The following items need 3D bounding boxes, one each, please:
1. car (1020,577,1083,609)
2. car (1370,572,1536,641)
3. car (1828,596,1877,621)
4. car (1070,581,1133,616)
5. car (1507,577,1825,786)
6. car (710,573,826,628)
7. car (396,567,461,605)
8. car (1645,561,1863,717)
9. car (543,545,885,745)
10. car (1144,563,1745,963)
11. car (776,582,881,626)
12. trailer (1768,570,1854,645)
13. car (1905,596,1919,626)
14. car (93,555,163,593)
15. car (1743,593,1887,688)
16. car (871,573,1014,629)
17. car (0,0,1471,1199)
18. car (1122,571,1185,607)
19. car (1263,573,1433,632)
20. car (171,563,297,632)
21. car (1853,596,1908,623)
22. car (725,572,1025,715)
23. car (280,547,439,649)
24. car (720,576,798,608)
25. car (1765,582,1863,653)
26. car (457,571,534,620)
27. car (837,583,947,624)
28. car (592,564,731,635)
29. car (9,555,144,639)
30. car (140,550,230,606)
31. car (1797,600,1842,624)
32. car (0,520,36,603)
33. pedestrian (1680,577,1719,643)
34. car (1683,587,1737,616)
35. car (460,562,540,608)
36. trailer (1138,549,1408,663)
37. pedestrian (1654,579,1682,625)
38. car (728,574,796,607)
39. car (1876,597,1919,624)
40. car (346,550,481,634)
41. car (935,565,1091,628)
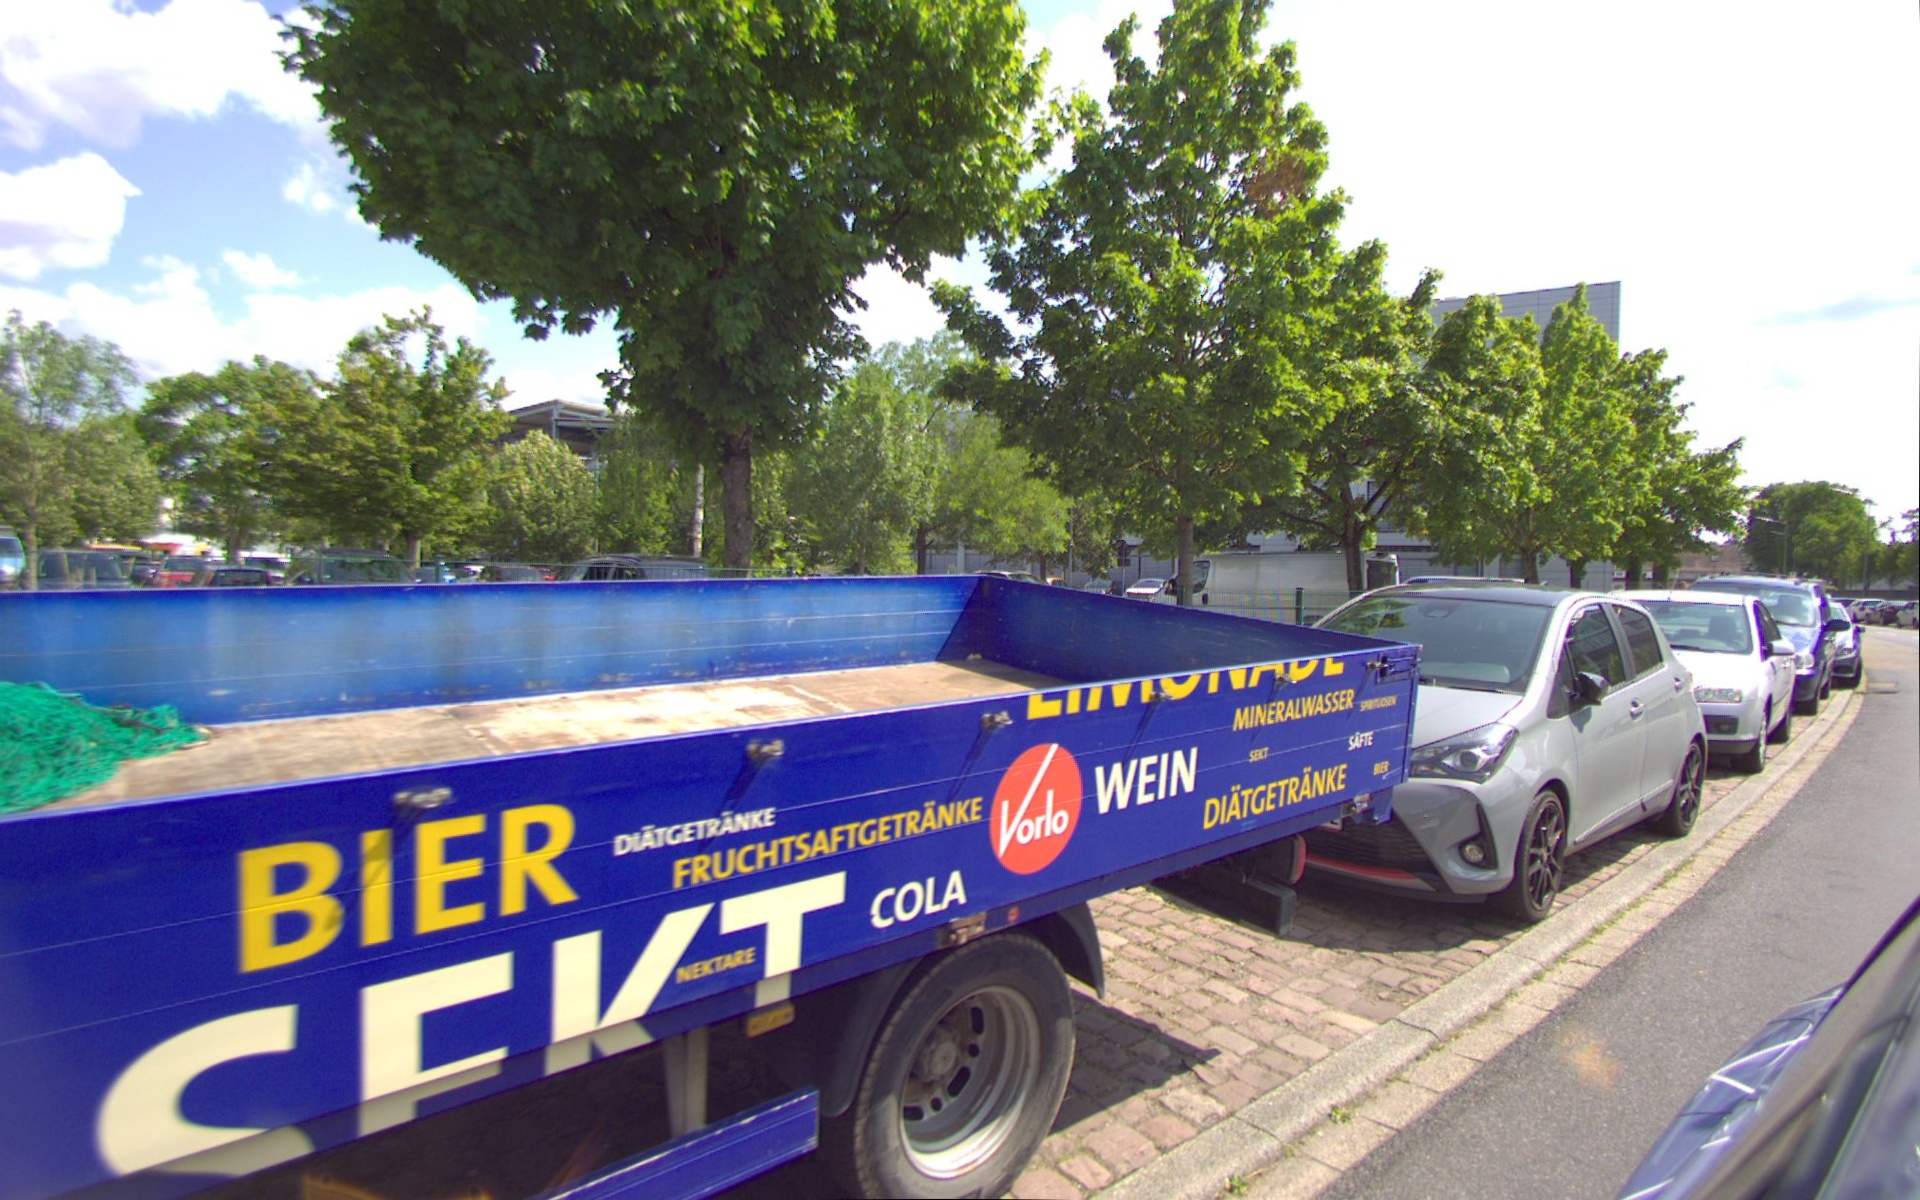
[{"bbox_3d":[4.844,-0.404,53.059,1.938,1.567,3.962,0,1,28],"label":"car"},{"bbox_3d":[15.953,0.180,32.862,4.462,1.990,1.971,3,1,40],"label":"car"},{"bbox_3d":[57.365,0.517,65.078,1.555,1.534,3.704,2,1,29],"label":"car"},{"bbox_3d":[7.191,-0.127,51.144,1.939,1.671,3.961,0,2,29],"label":"car"},{"bbox_3d":[7.074,0.588,9.913,1.833,1.510,4.582,4,3,44],"label":"car"},{"bbox_3d":[-6.302,-0.020,33.002,1.827,1.687,3.989,0,1,-45],"label":"car"},{"bbox_3d":[-26.318,-0.648,50.089,1.966,1.792,3.992,0,0,-42],"label":"car"},{"bbox_3d":[11.462,0.430,14.456,1.851,1.787,4.996,4,3,44],"label":"car"},{"bbox_3d":[-2.994,0.336,11.673,1.827,1.691,4.330,0,5,-45],"label":"car"},{"bbox_3d":[2.970,0.598,5.823,3.880,1.513,1.689,0,3,-41],"label":"car"},{"bbox_3d":[-4.567,0.104,34.839,1.459,1.391,3.989,0,1,-45],"label":"car"},{"bbox_3d":[26.324,0.199,31.407,1.743,2.092,3.893,5,3,38],"label":"trailer"},{"bbox_3d":[49.645,0.555,51.300,1.651,1.500,3.483,0,0,28],"label":"car"},{"bbox_3d":[-33.401,-0.994,40.599,1.966,1.417,4.272,0,0,-42],"label":"car"},{"bbox_3d":[16.320,0.664,19.298,1.841,1.478,4.795,4,3,41],"label":"car"},{"bbox_3d":[-0.558,-0.012,28.953,3.988,1.440,1.775,2,1,44],"label":"car"},{"bbox_3d":[-1.600,0.081,2.003,6.521,2.495,2.162,0,3,-40],"label":"car"},{"bbox_3d":[9.564,-0.555,49.686,1.720,1.701,4.488,0,1,29],"label":"car"},{"bbox_3d":[11.342,0.078,29.718,4.318,1.615,1.830,0,0,40],"label":"car"},{"bbox_3d":[-16.580,-0.044,23.059,1.724,1.431,3.751,3,-2,-45],"label":"car"},{"bbox_3d":[54.619,0.554,60.120,1.555,1.473,3.704,2,1,29],"label":"car"},{"bbox_3d":[-1.287,0.453,13.590,1.602,1.514,4.329,0,3,-45],"label":"car"},{"bbox_3d":[-11.201,-0.069,18.732,1.806,1.661,4.488,0,1,-40],"label":"car"},{"bbox_3d":[-9.172,-0.390,45.975,1.724,1.391,3.701,0,1,-45],"label":"car"},{"bbox_3d":[23.618,0.429,28.075,1.859,1.703,4.643,4,3,39],"label":"car"},{"bbox_3d":[-23.574,-0.223,51.287,2.031,2.328,5.343,0,0,-42],"label":"car"},{"bbox_3d":[-2.491,0.092,36.485,1.827,1.391,3.989,0,1,-45],"label":"car"},{"bbox_3d":[-6.840,-0.044,22.907,1.697,1.455,4.172,1,1,-36],"label":"car"},{"bbox_3d":[-18.490,-0.112,21.163,1.966,1.576,4.273,-1,2,-42],"label":"car"},{"bbox_3d":[-23.479,-0.624,30.611,1.858,1.576,3.992,0,0,-42],"label":"car"},{"bbox_3d":[59.529,0.830,70.151,1.555,1.534,3.993,2,1,29],"label":"car"},{"bbox_3d":[-26.568,-0.986,27.538,2.075,2.130,4.932,0,0,-42],"label":"car"},{"bbox_3d":[19.824,0.257,27.138,0.720,1.714,0.729,5,3,39],"label":"pedestrian"},{"bbox_3d":[44.758,0.061,60.446,1.798,1.523,3.963,6,3,27],"label":"car"},{"bbox_3d":[-19.131,-0.585,42.017,1.966,1.824,3.992,0,0,-42],"label":"car"},{"bbox_3d":[6.452,0.040,21.305,5.046,2.108,2.029,2,1,43],"label":"trailer"},{"bbox_3d":[26.904,0.071,38.458,0.726,1.666,0.572,7,3,37],"label":"pedestrian"},{"bbox_3d":[-8.987,-0.405,45.867,1.561,1.430,3.292,0,0,-42],"label":"car"},{"bbox_3d":[52.168,0.536,55.728,1.657,1.422,3.959,1,1,29],"label":"car"},{"bbox_3d":[-14.048,-0.234,25.915,1.966,1.959,4.083,0,1,-45],"label":"car"},{"bbox_3d":[1.592,-0.171,31.909,4.851,1.789,1.885,2,2,44],"label":"car"}]
